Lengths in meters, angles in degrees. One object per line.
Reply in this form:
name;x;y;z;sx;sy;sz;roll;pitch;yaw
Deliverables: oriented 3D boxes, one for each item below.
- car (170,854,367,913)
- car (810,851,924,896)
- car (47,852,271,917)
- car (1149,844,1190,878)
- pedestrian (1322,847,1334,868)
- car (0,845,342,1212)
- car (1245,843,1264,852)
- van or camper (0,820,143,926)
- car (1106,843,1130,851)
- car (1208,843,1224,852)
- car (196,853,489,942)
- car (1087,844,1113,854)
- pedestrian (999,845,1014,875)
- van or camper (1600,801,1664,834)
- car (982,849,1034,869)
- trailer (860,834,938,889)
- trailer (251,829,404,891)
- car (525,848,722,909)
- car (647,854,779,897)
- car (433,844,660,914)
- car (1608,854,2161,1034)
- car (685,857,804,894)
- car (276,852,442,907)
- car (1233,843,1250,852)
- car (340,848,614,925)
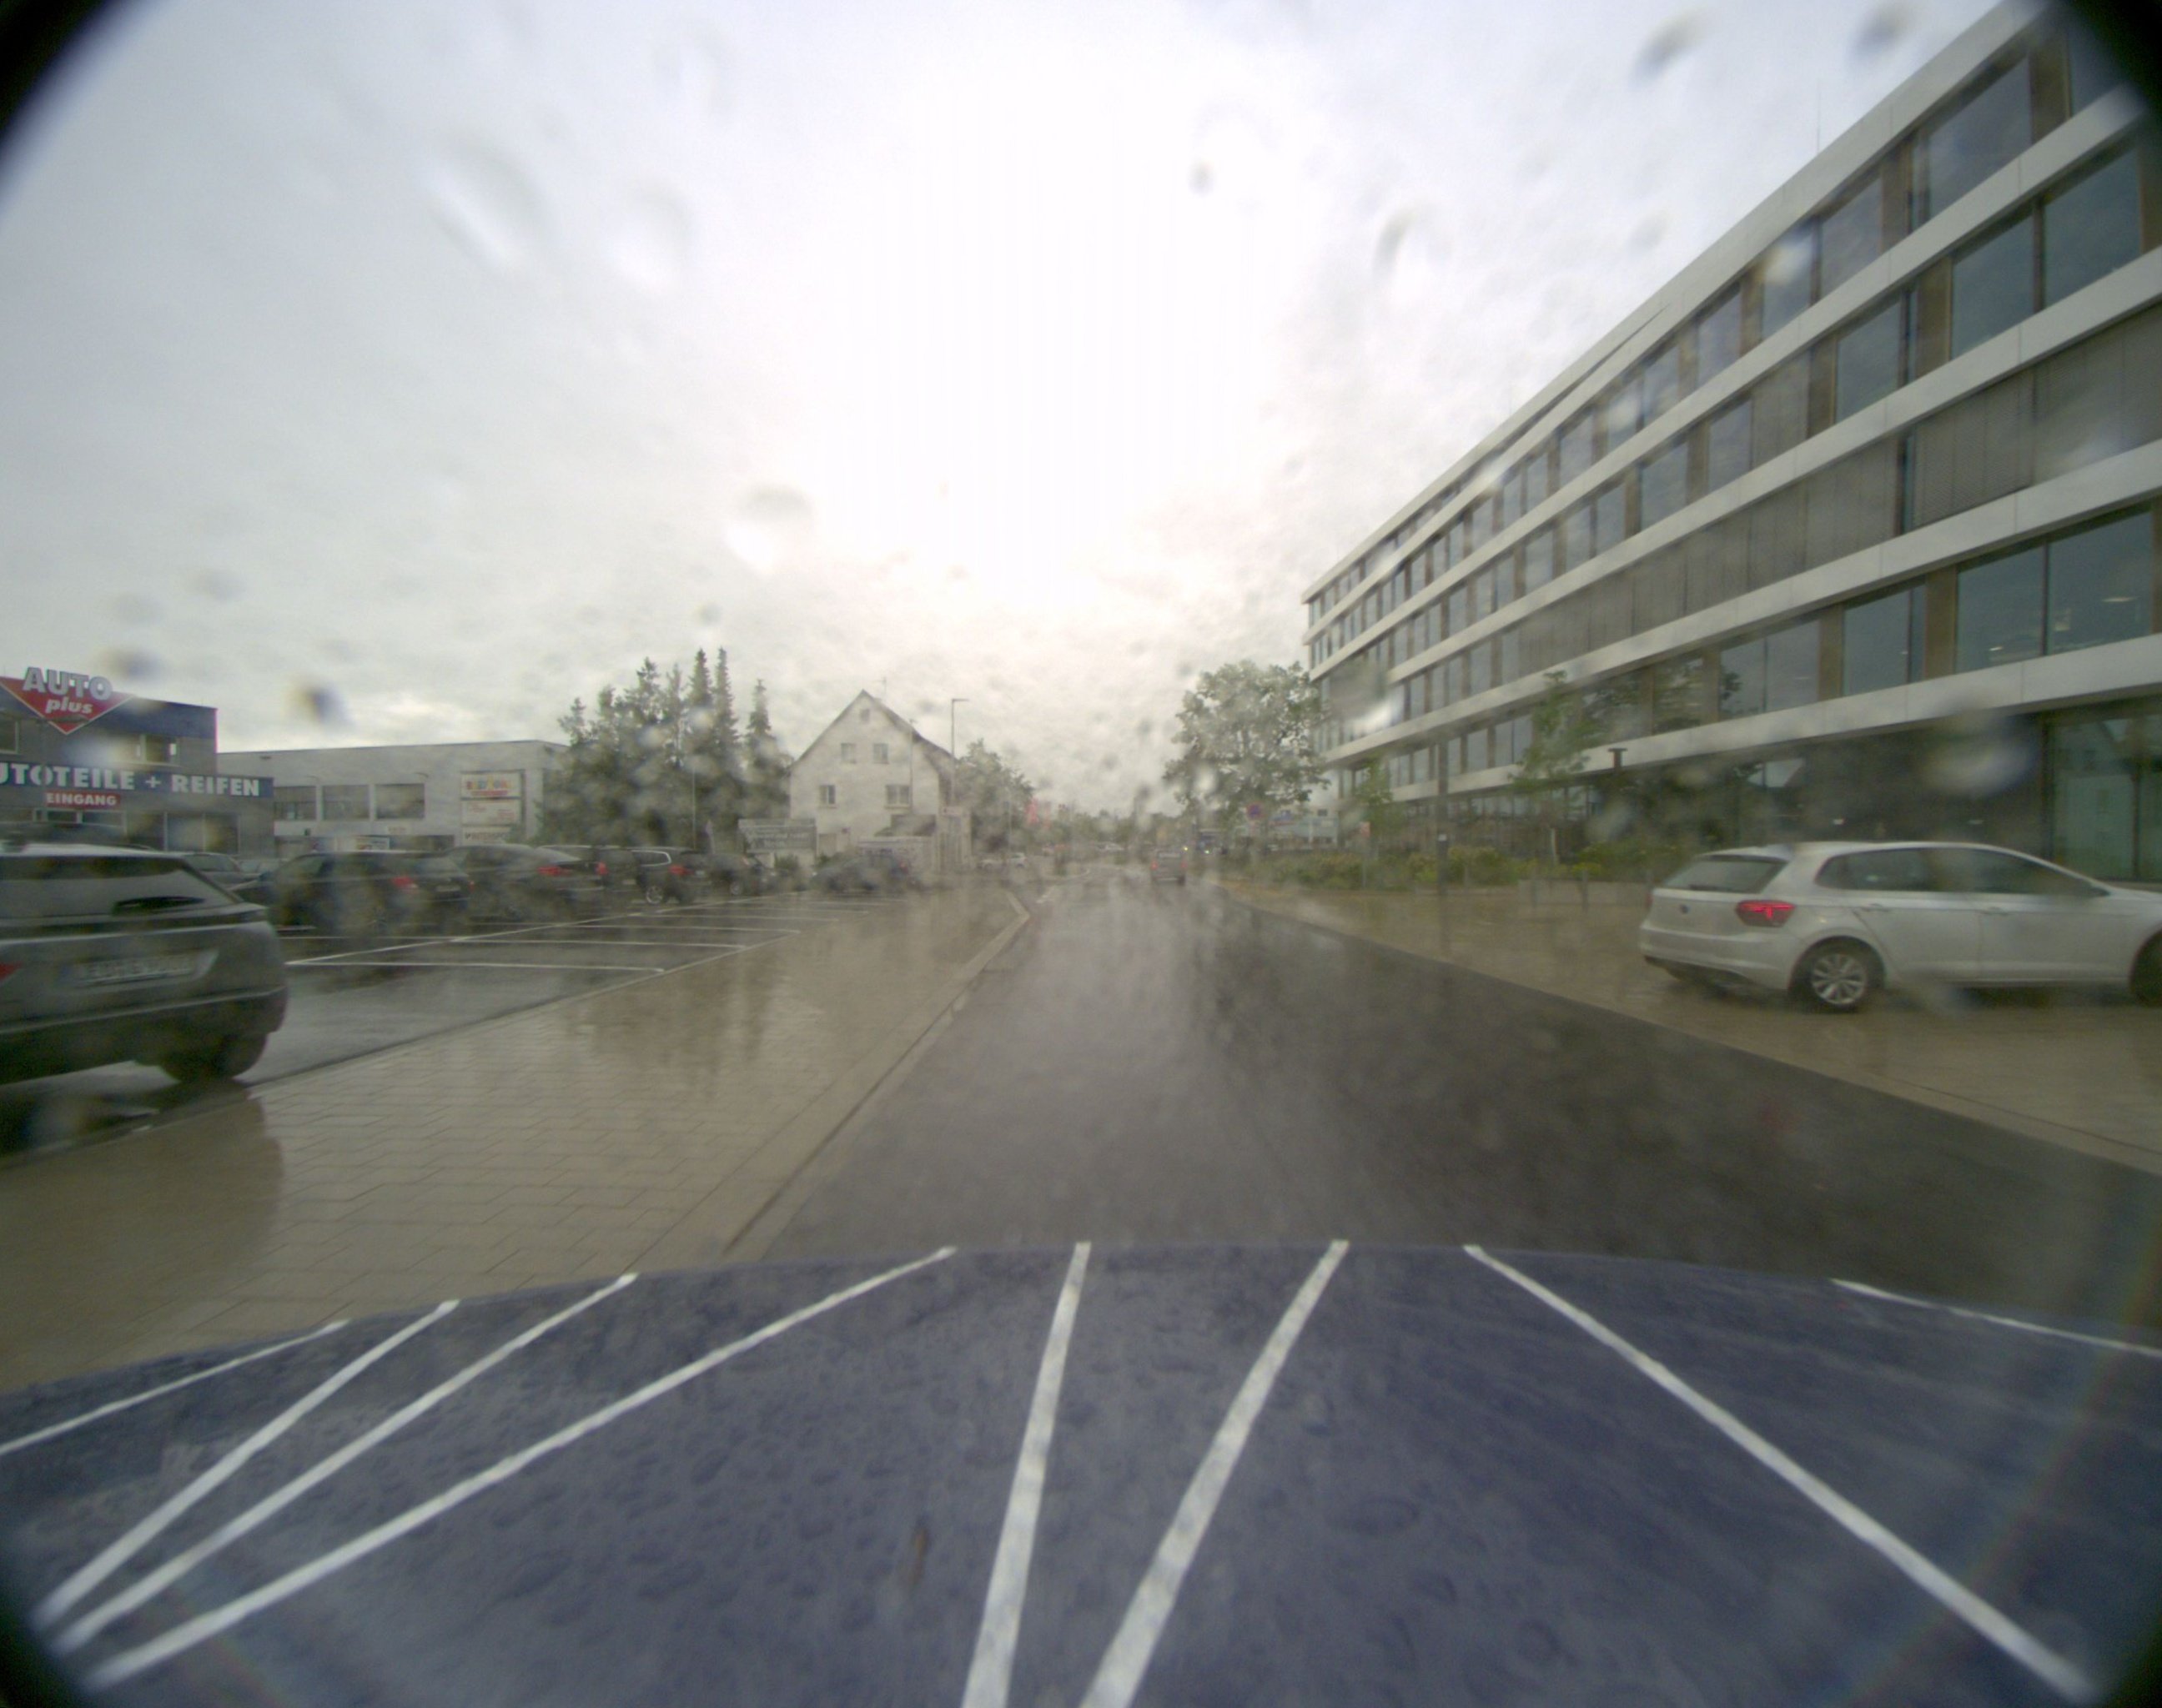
car;-23.992;0.812;22.509;4.362;1.574;1.866;1;1;9
car;-7.888;0.694;28.230;3.735;1.520;1.650;1;2;1
car;-24.637;0.766;20.376;4.362;1.574;1.866;1;1;9
car;5.024;0.358;43.803;2.007;1.807;4.980;0;0;3
pedestrian;21.654;0.300;66.530;0.726;1.694;0.956;-4;2;4
car;-7.022;0.789;4.286;4.214;1.640;2.001;2;1;10
car;26.012;-1.001;113.755;1.883;1.288;4.006;-3;0;25
van or camper;-25.786;0.364;18.006;4.963;2.312;2.224;1;1;8
car;7.015;-1.285;142.652;3.990;1.433;2.003;-1;0;25
car;24.887;-1.260;140.018;1.916;1.521;4.007;-2;0;27
car;-13.196;0.739;13.743;3.695;1.491;1.642;0;1;1
car;3.350;-0.860;133.233;4.095;1.696;2.004;-1;0;28
pedestrian;-5.016;0.389;51.064;0.861;2.002;1.195;2;1;-1
van or camper;58.423;-3.834;80.723;5.090;3.070;2.003;-2;0;22
car;-6.262;0.427;64.867;4.144;1.571;1.997;1;0;-13
trailer;-7.324;0.308;30.670;2.708;2.159;1.548;0;1;3
trailer;-38.688;0.281;39.068;5.878;2.720;2.938;-3;2;17
car;-12.692;0.657;21.280;4.367;1.642;1.844;0;1;-2
car;-12.703;0.719;26.381;3.736;1.440;1.730;0;1;-3
car;-13.136;0.579;18.852;4.365;1.649;1.786;0;1;1
car;7.510;0.730;7.035;3.937;1.415;1.898;0;0;1
car;-12.685;0.788;28.803;3.736;1.308;1.692;0;1;-3
car;-23.837;0.793;25.150;4.134;1.657;1.866;1;1;9
car;26.975;-1.105;127.346;1.883;1.288;4.006;-3;0;25
car;-12.782;0.655;16.309;4.366;1.550;1.839;0;1;-1
